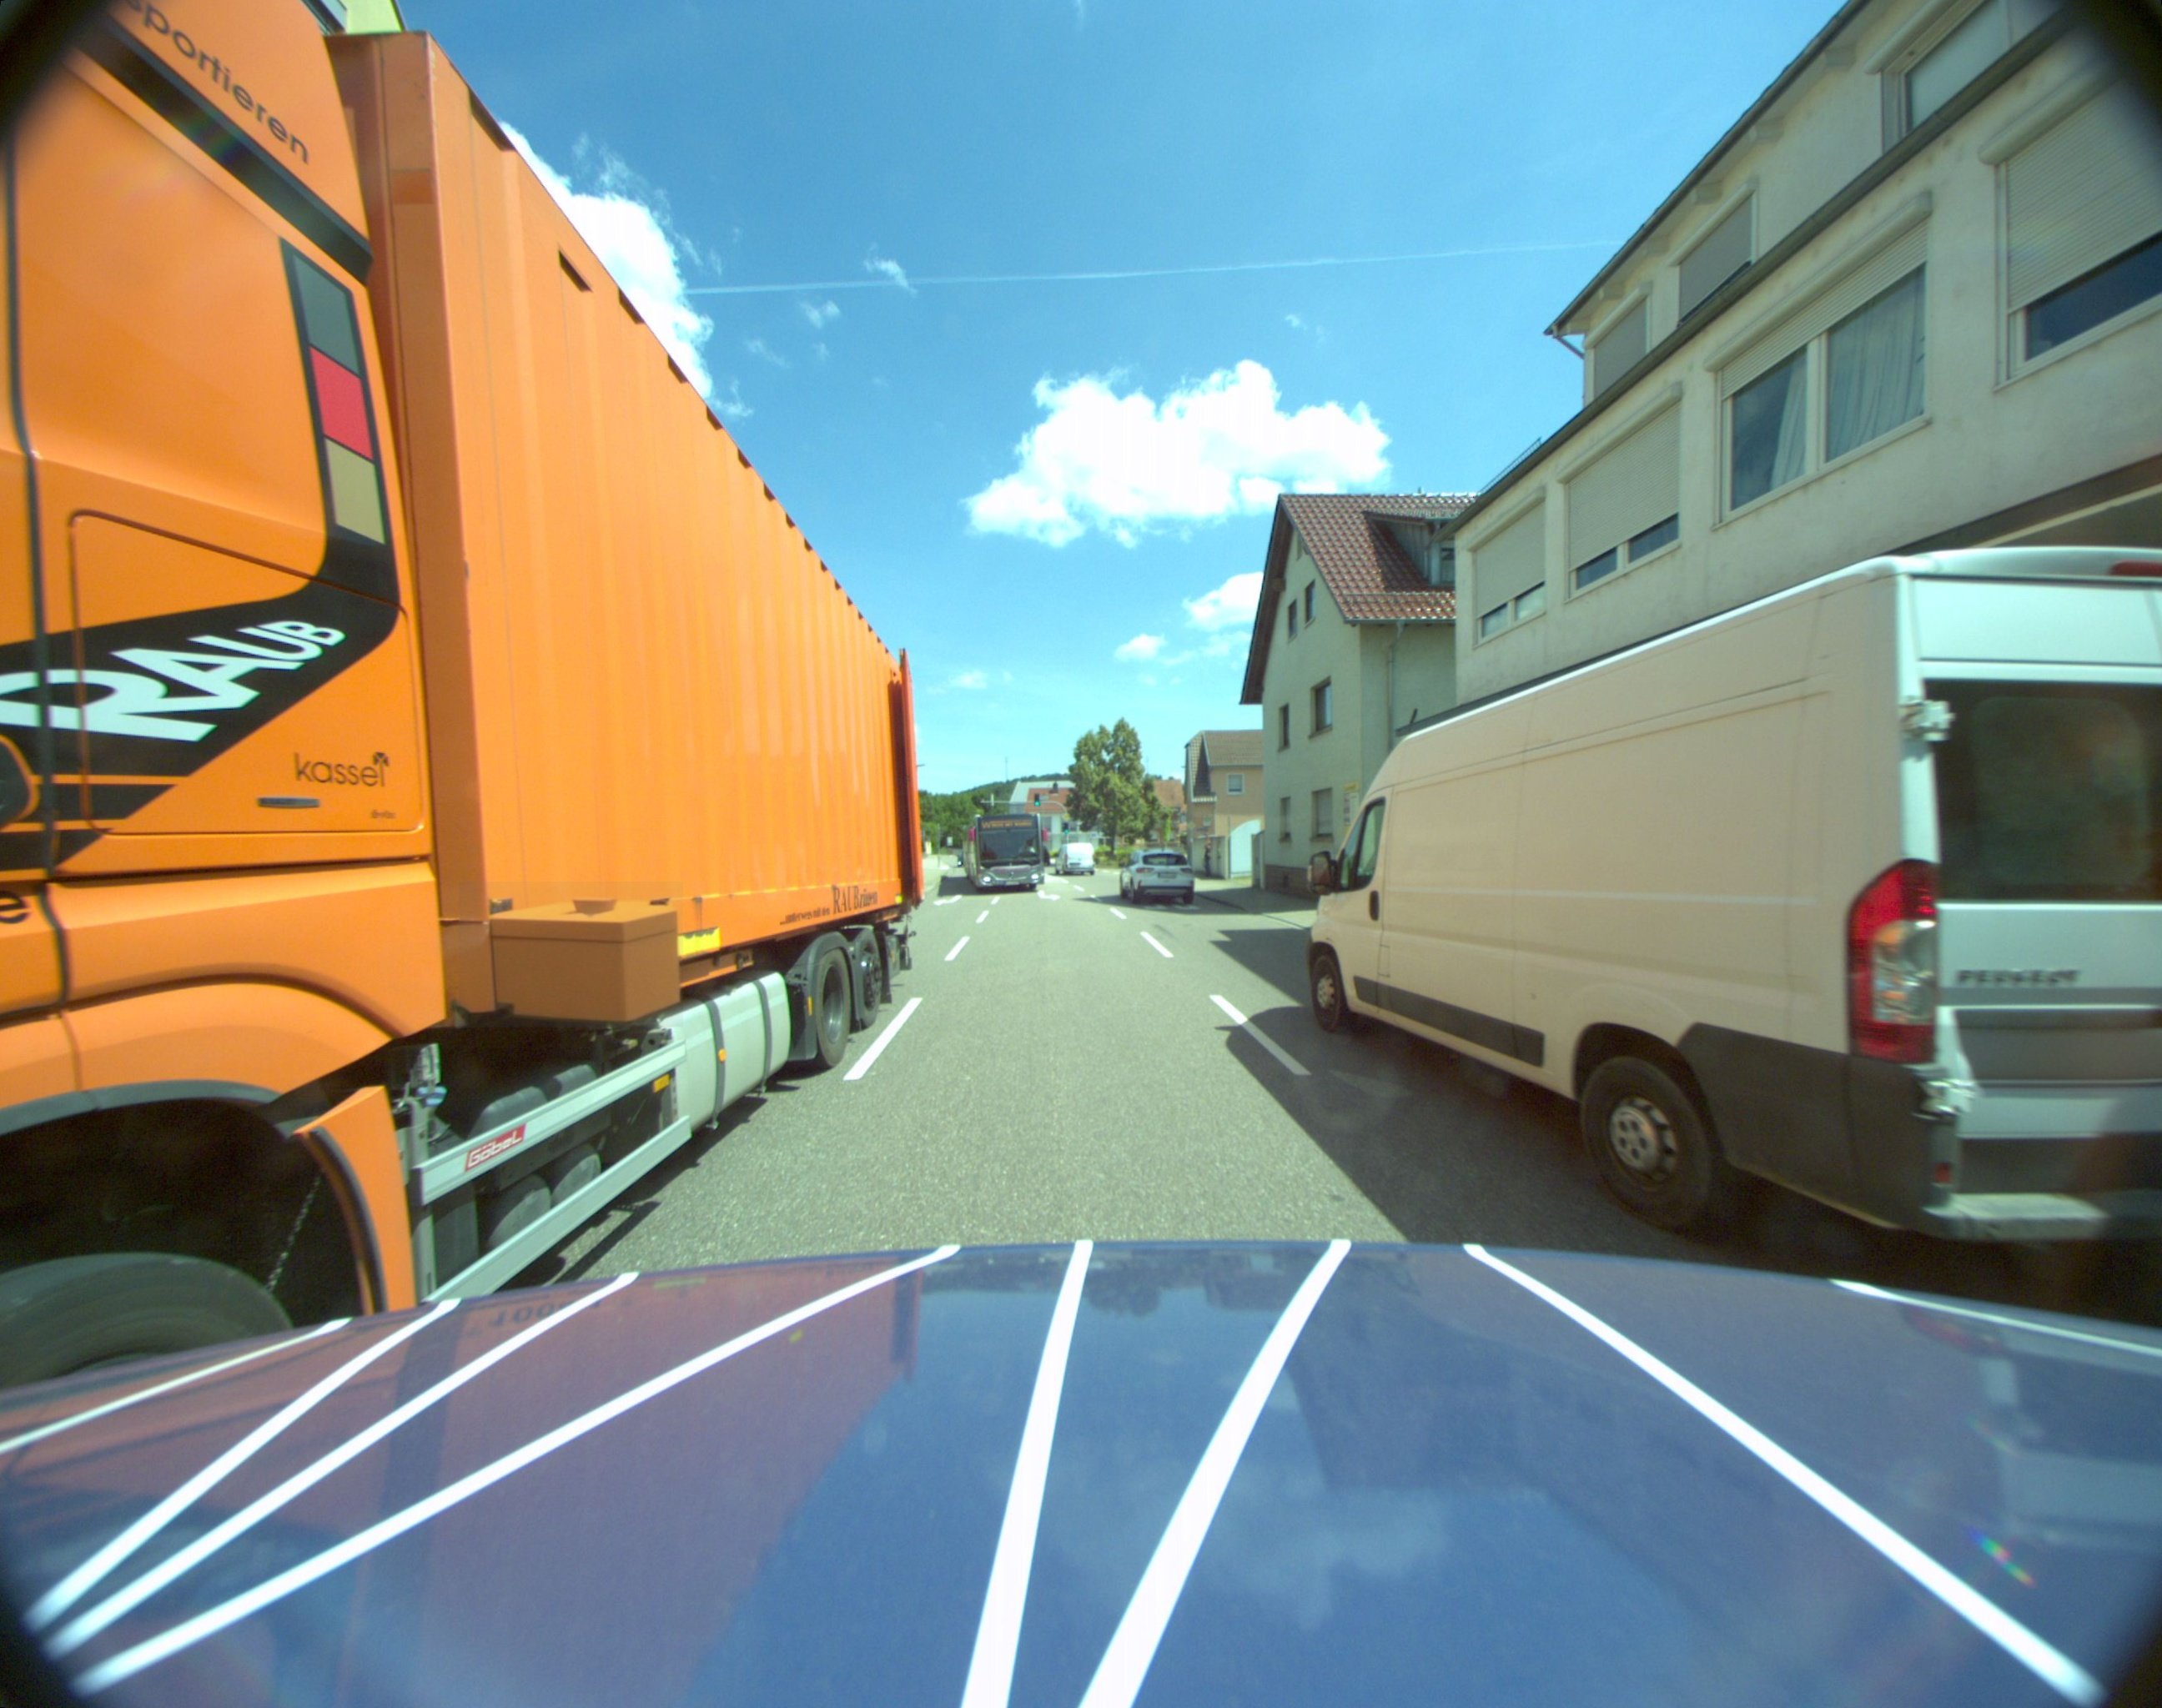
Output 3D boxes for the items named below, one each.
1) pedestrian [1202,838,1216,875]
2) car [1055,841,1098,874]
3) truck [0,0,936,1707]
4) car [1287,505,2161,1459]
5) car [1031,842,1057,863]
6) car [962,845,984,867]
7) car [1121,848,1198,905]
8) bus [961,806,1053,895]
[{"bbox_3d":[6.109,0.135,36.291,0.472,1.754,0.478,-2,2,-24],"label":"pedestrian"},{"bbox_3d":[-0.334,0.147,44.219,1.789,1.819,4.595,0,1,-9],"label":"car"},{"bbox_3d":[-3.120,-0.160,4.529,2.615,3.922,9.991,-4,0,-2],"label":"truck"},{"bbox_3d":[3.243,0.343,4.784,2.146,2.554,5.391,0,0,-3],"label":"car"},{"bbox_3d":[-3.007,-0.130,61.224,1.753,1.602,3.997,-1,1,-7],"label":"car"},{"bbox_3d":[-9.268,0.151,64.943,1.789,1.819,4.347,0,1,-9],"label":"car"},{"bbox_3d":[2.348,0.621,23.755,1.823,1.546,4.196,1,1,-2],"label":"car"},{"bbox_3d":[-4.155,-0.259,37.010,2.861,3.186,19.011,-1,1,-10],"label":"bus"}]
